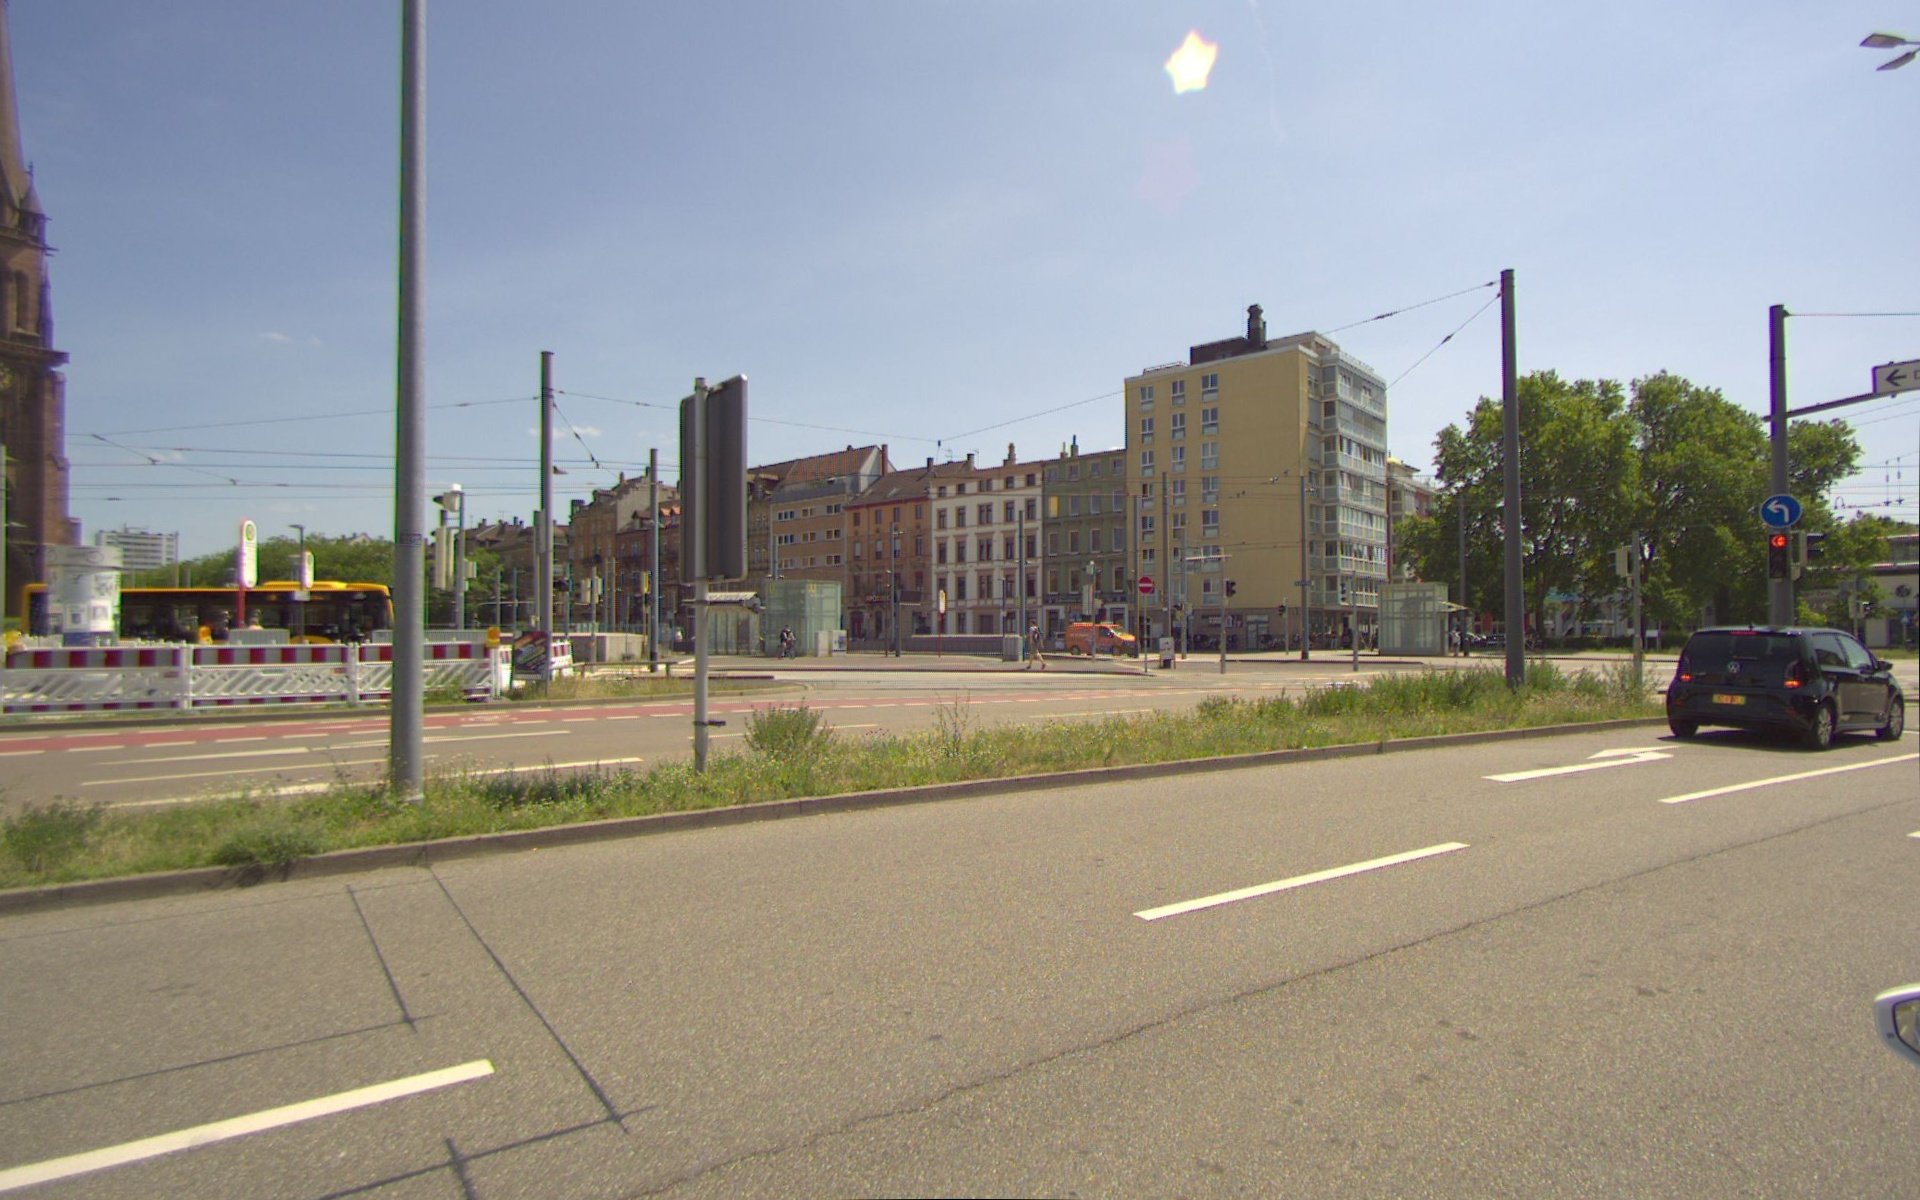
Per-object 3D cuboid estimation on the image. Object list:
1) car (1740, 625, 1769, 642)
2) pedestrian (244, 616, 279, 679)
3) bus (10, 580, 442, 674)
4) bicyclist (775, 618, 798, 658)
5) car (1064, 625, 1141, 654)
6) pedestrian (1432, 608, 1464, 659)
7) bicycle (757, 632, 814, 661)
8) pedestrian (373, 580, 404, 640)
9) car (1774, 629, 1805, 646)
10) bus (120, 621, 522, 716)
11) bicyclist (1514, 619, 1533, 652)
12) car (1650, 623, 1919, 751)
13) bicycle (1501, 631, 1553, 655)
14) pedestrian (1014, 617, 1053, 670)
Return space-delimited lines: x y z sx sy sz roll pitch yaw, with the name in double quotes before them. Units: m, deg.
"car" 76.999 3.197 97.339 3.406 1.528 1.414 -1 0 -37
"pedestrian" -22.752 1.542 32.708 0.650 2.022 0.611 -1 0 9
"bus" -25.382 0.975 35.461 12.021 3.081 3.737 0 -2 -5
"bicyclist" -9.100 1.975 52.789 0.784 2.040 0.859 -1 0 37
"car" 8.639 2.368 61.129 4.575 1.635 1.665 -2 0 44
"pedestrian" 29.338 2.009 60.409 1.322 2.977 1.206 -1 0 -35
"bicycle" -9.201 2.427 52.875 3.411 1.466 0.874 -1 0 38
"pedestrian" -19.610 0.336 34.462 0.651 2.022 0.611 -1 0 -1
"car" 77.828 3.463 94.253 3.389 1.437 1.499 -1 0 -37
"bus" -10.853 1.092 17.524 5.769 1.266 1.234 -1 0 -39
"bicyclist" 35.492 2.226 63.240 0.621 1.992 0.839 -1 0 -38
"car" 11.058 1.068 13.391 3.955 1.482 1.613 1 -2 -32
"bicycle" 35.607 2.672 63.106 0.664 1.404 2.753 -1 0 -38
"pedestrian" 2.846 1.668 38.740 1.164 1.959 0.899 -1 0 38
